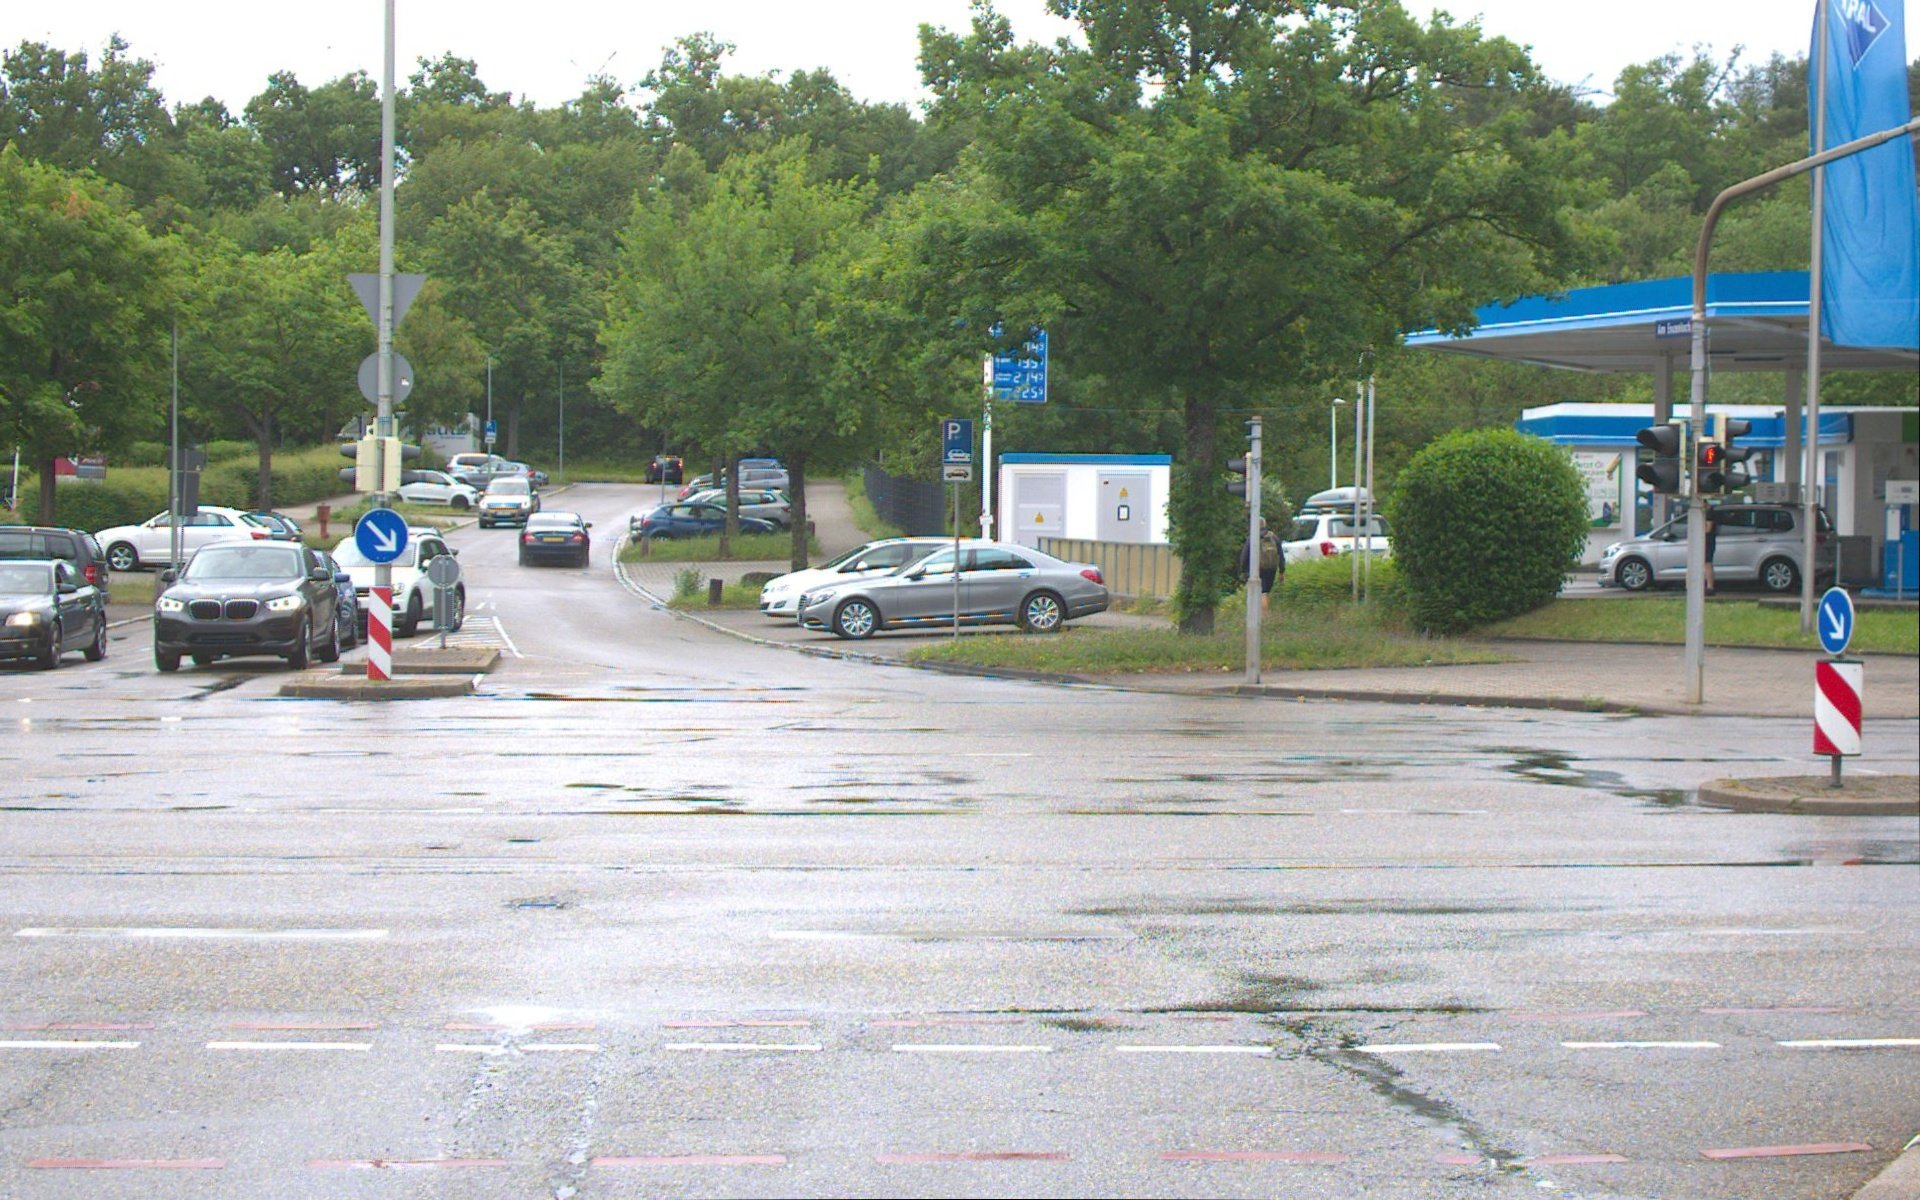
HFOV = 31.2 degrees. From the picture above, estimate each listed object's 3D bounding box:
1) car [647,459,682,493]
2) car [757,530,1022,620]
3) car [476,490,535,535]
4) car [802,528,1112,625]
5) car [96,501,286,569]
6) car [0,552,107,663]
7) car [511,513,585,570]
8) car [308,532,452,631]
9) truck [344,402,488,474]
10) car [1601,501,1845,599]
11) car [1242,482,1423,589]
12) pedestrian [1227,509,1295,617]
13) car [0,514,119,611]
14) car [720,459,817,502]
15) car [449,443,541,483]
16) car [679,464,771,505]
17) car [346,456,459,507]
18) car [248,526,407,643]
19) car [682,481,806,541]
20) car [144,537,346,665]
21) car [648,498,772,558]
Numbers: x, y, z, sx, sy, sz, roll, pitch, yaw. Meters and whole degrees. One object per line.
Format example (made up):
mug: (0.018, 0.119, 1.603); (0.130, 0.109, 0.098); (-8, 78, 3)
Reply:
car: (-15.635, -6.553, 182.035); (1.804, 1.733, 4.001); (0, 1, -5)
car: (-1.297, -0.446, 61.745); (4.571, 1.583, 1.930); (0, 1, -7)
car: (-15.549, -2.988, 117.702); (1.697, 1.451, 3.673); (0, 0, -3)
car: (-0.086, -0.389, 56.477); (4.885, 1.543, 2.000); (0, 1, -7)
car: (-18.595, -1.562, 83.205); (4.271, 1.604, 1.685); (0, 1, -3)
car: (-12.507, 0.065, 45.265); (1.782, 1.399, 4.001); (0, 1, -4)
car: (-10.860, -1.539, 90.736); (1.807, 1.477, 3.752); (0, 1, -5)
car: (-9.354, -0.312, 55.690); (1.895, 1.548, 4.001); (0, 1, -4)
truck: (-30.049, -8.921, 189.885); (7.368, 3.847, 2.777); (0, 1, 6)
car: (14.433, -0.944, 65.063); (4.121, 1.801, 1.943); (0, 1, 30)
car: (6.502, -1.115, 60.363); (1.808, 1.791, 3.701); (1, 1, -17)
pedestrian: (4.658, -0.572, 53.212); (0.808, 1.656, 0.887); (0, 0, -13)
car: (-17.145, -0.676, 62.037); (3.648, 1.718, 1.685); (0, 1, -7)
car: (-8.055, -5.006, 144.301); (3.986, 1.733, 1.811); (0, 1, -6)
car: (-21.157, -6.233, 156.498); (3.986, 1.788, 1.856); (0, 0, -2)
car: (-10.402, -5.105, 151.729); (3.986, 1.733, 1.811); (0, 1, -6)
car: (-20.385, -4.326, 125.820); (3.986, 1.788, 1.857); (0, 0, -7)
car: (-9.138, -0.226, 49.960); (1.795, 1.627, 4.552); (0, 0, -4)
car: (-6.566, -2.688, 104.291); (3.697, 1.744, 1.697); (1, 0, -5)
car: (-9.090, -0.013, 44.020); (1.895, 1.548, 4.593); (0, 1, -4)
car: (-7.116, -2.031, 97.787); (3.459, 1.649, 1.616); (1, 0, -5)
